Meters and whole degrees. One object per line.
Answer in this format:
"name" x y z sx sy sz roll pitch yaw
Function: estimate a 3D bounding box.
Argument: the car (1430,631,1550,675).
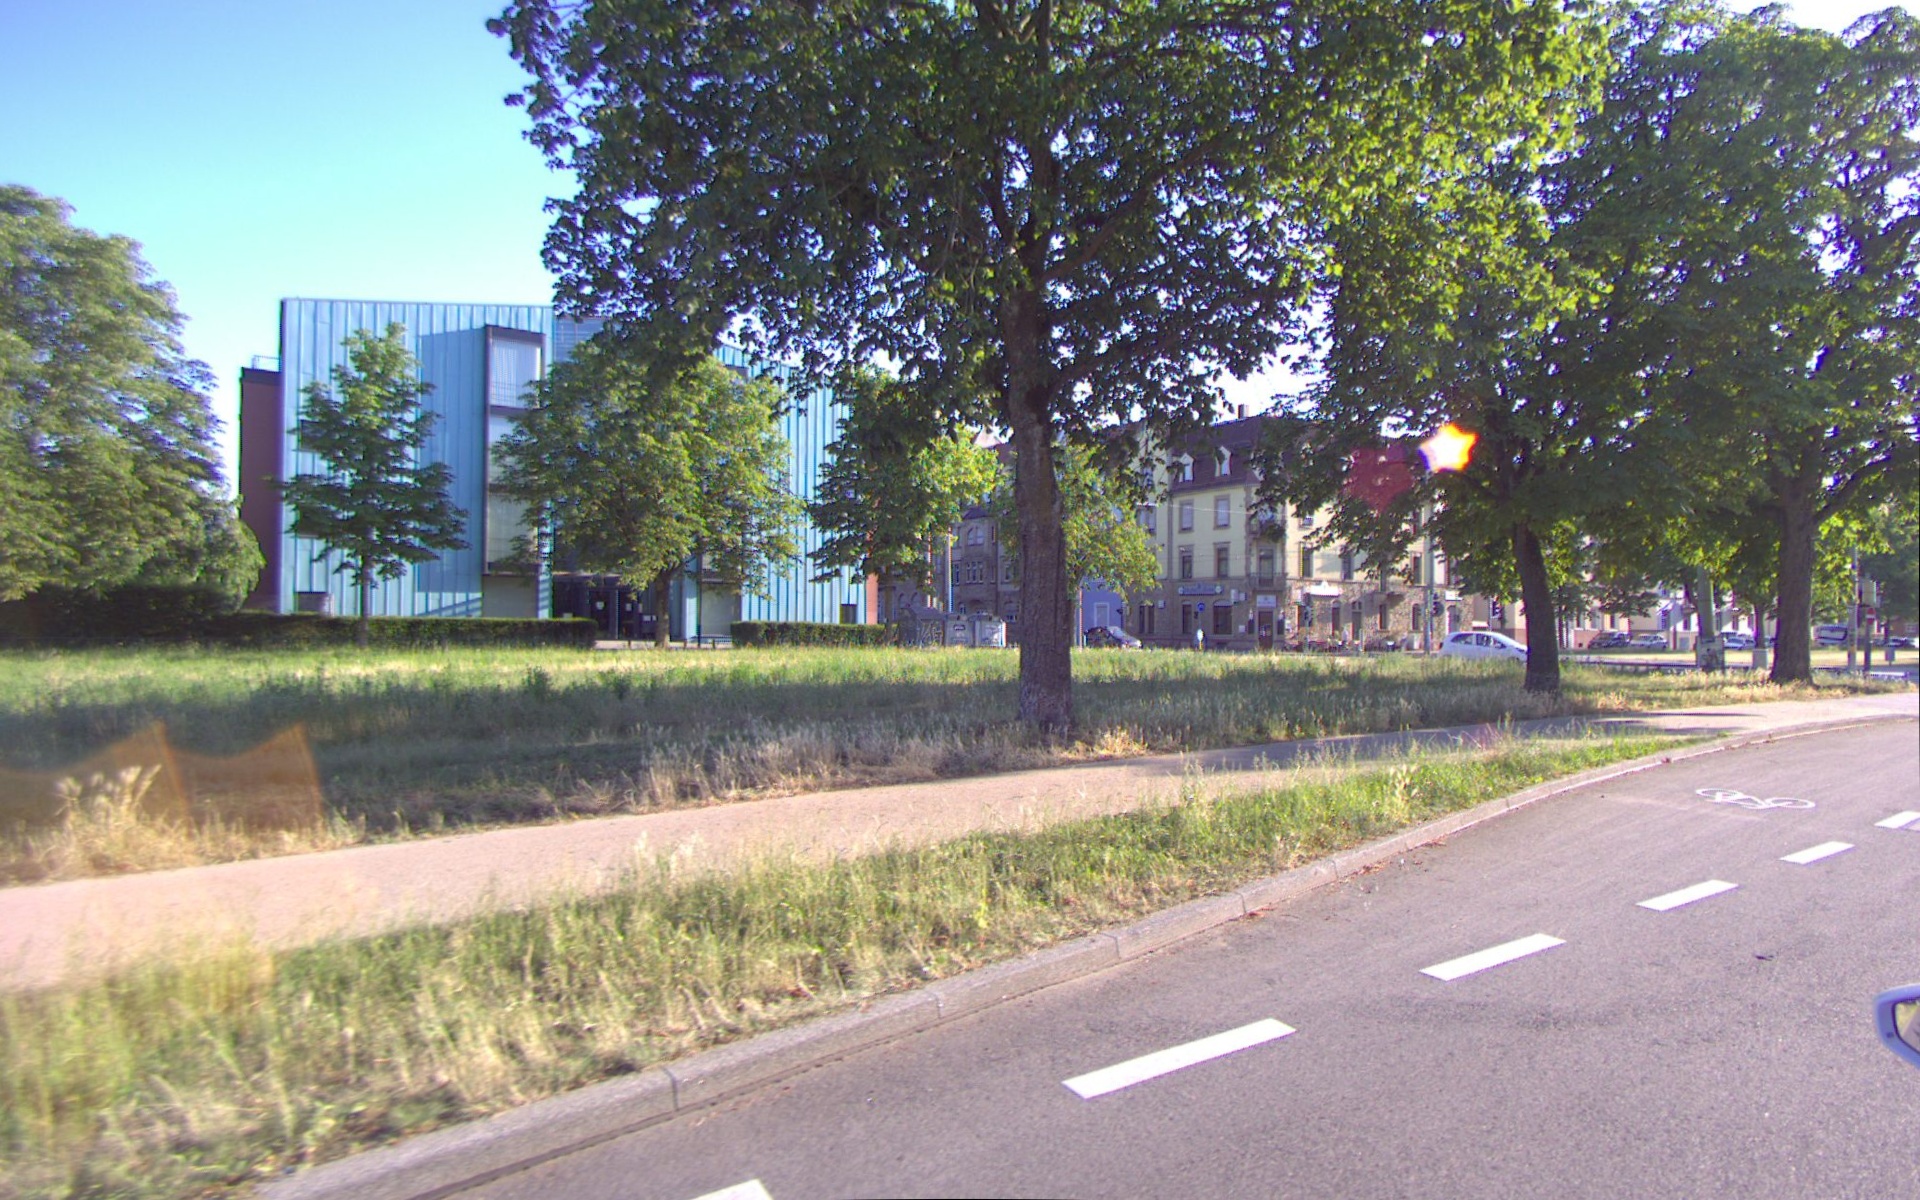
"car" 19.973 1.954 37.959 1.729 1.508 3.651 2 -1 -43

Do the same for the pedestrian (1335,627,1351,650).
"pedestrian" 26.892 2.699 70.497 0.716 1.664 0.811 1 -1 -24

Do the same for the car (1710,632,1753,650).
"car" 66.396 3.529 86.435 3.750 1.446 1.729 1 -1 -32

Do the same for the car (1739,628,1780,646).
"car" 71.457 3.300 89.796 3.749 1.446 1.729 0 0 -32

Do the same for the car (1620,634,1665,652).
"car" 60.969 3.864 89.718 3.742 1.446 1.732 0 0 -26

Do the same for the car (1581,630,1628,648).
"car" 55.608 3.313 86.659 3.742 1.416 1.732 0 0 -26

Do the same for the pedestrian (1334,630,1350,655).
"pedestrian" 26.429 2.931 69.547 0.808 1.664 0.718 1 -1 -37

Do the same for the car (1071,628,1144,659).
"car" 7.648 2.230 52.324 1.601 1.517 3.560 1 -1 -44
